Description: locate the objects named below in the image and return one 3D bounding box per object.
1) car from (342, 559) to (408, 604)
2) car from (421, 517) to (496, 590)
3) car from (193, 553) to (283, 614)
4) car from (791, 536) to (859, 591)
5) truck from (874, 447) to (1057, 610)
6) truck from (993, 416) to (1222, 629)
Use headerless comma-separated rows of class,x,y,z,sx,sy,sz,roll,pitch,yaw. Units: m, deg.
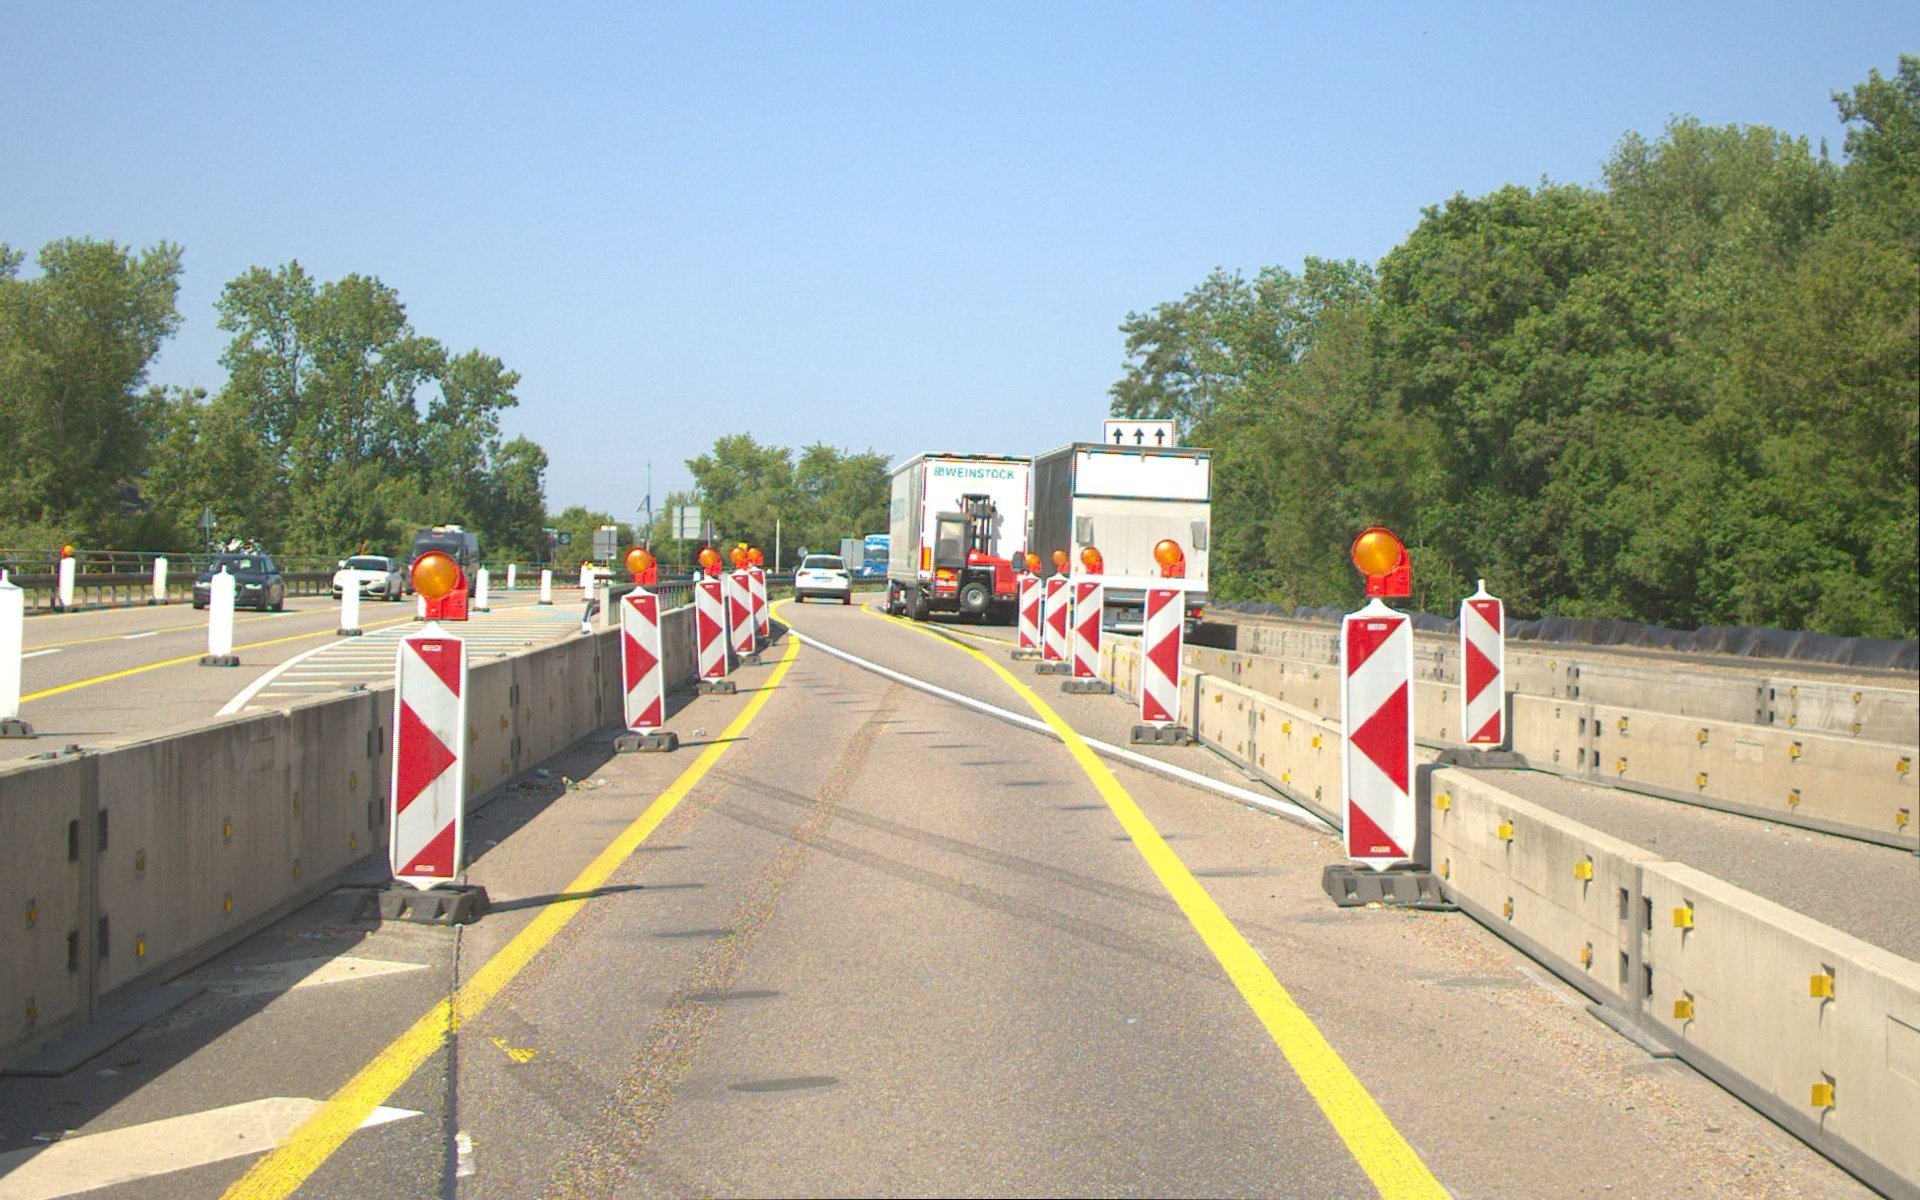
car,-19.037,-0.603,111.998,1.718,1.392,4.520,1,1,-5
car,-18.872,-1.751,129.602,2.146,2.651,5.547,1,1,-2
car,-18.054,-0.439,86.124,1.737,1.471,4.646,0,1,-6
car,-4.488,-1.215,113.883,1.816,1.770,4.001,-1,1,-8
truck,0.048,-1.719,83.494,3.387,3.761,7.235,-1,1,-8
truck,2.418,-1.330,58.952,2.633,3.416,7.235,0,1,-8
